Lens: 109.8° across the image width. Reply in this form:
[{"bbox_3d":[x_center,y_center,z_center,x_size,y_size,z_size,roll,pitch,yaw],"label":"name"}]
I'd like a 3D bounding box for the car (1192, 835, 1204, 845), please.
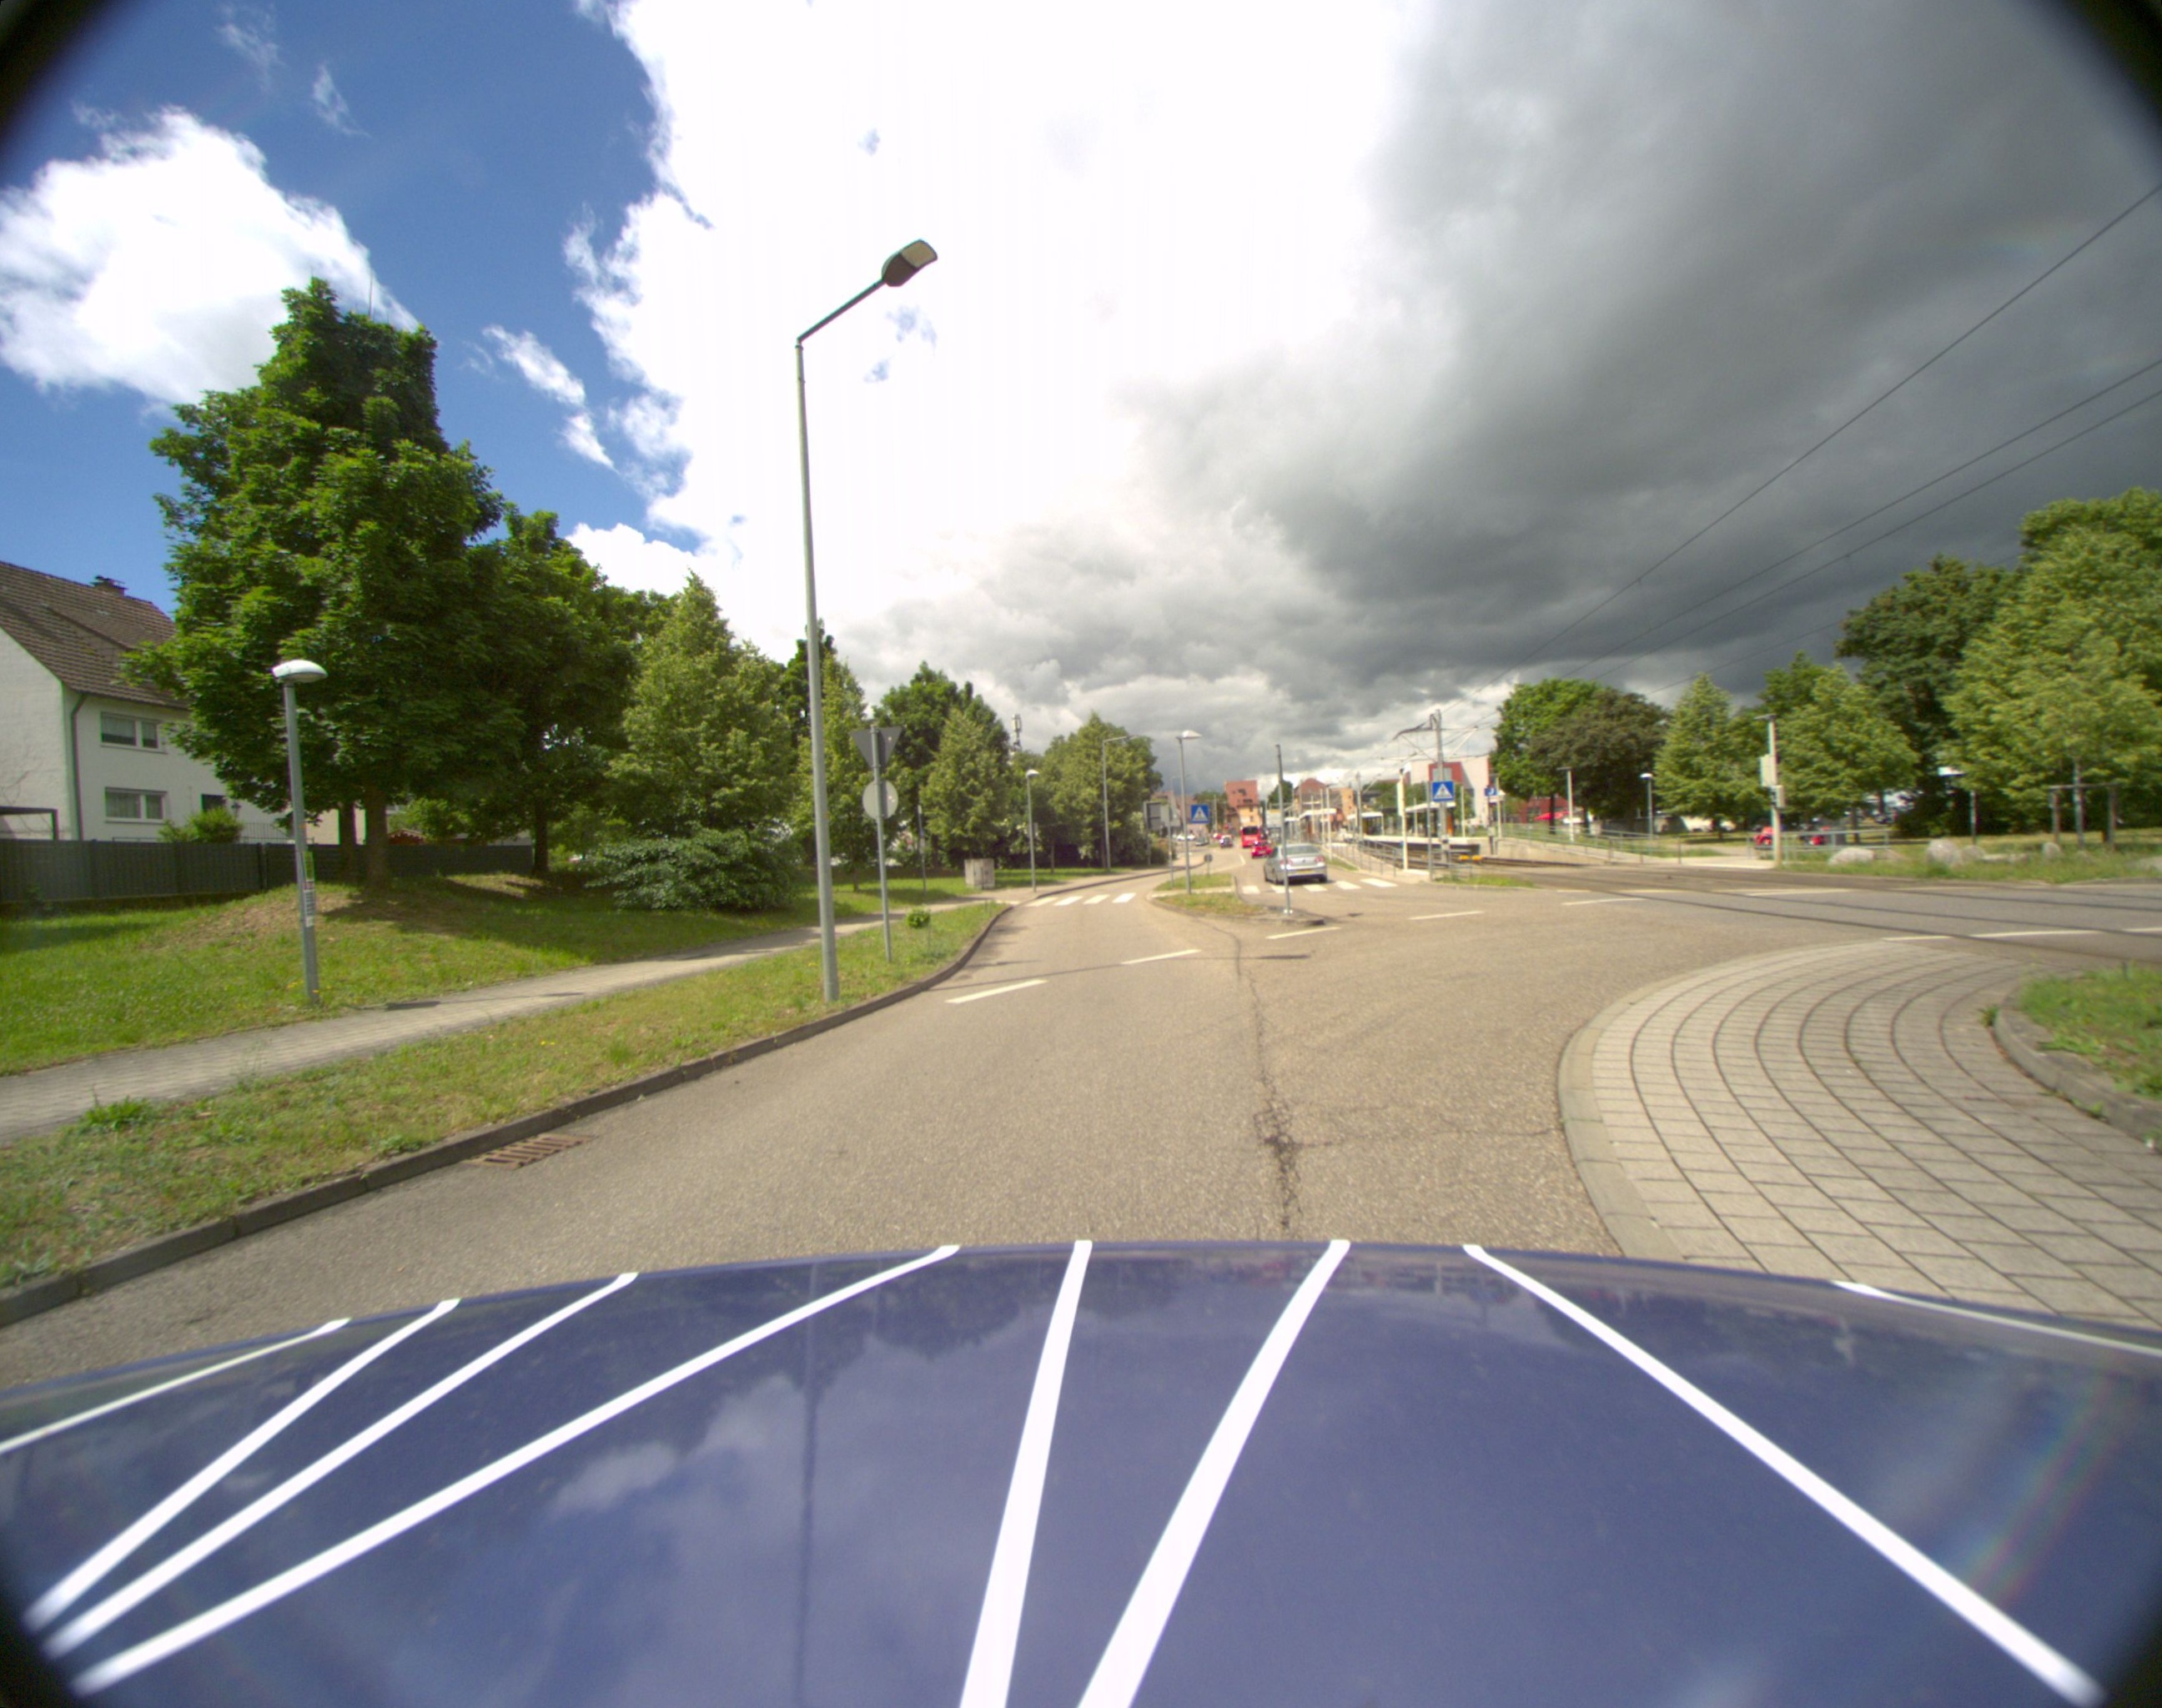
[{"bbox_3d":[22.492,-2.737,145.924,1.997,1.849,4.003,-3,0,11],"label":"car"}]

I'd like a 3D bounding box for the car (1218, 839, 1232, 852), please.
[{"bbox_3d":[21.988,-1.312,115.874,1.849,1.916,3.780,-3,0,12],"label":"car"}]

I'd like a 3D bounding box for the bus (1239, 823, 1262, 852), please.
[{"bbox_3d":[24.212,-2.315,108.079,2.921,3.863,10.388,-3,0,13],"label":"bus"}]

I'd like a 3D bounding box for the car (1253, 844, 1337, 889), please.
[{"bbox_3d":[7.746,0.394,27.937,1.939,1.374,4.662,-4,1,4],"label":"car"}]

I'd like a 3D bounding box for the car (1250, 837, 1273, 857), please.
[{"bbox_3d":[15.285,-0.582,64.548,1.737,1.501,3.517,-4,1,13],"label":"car"}]
